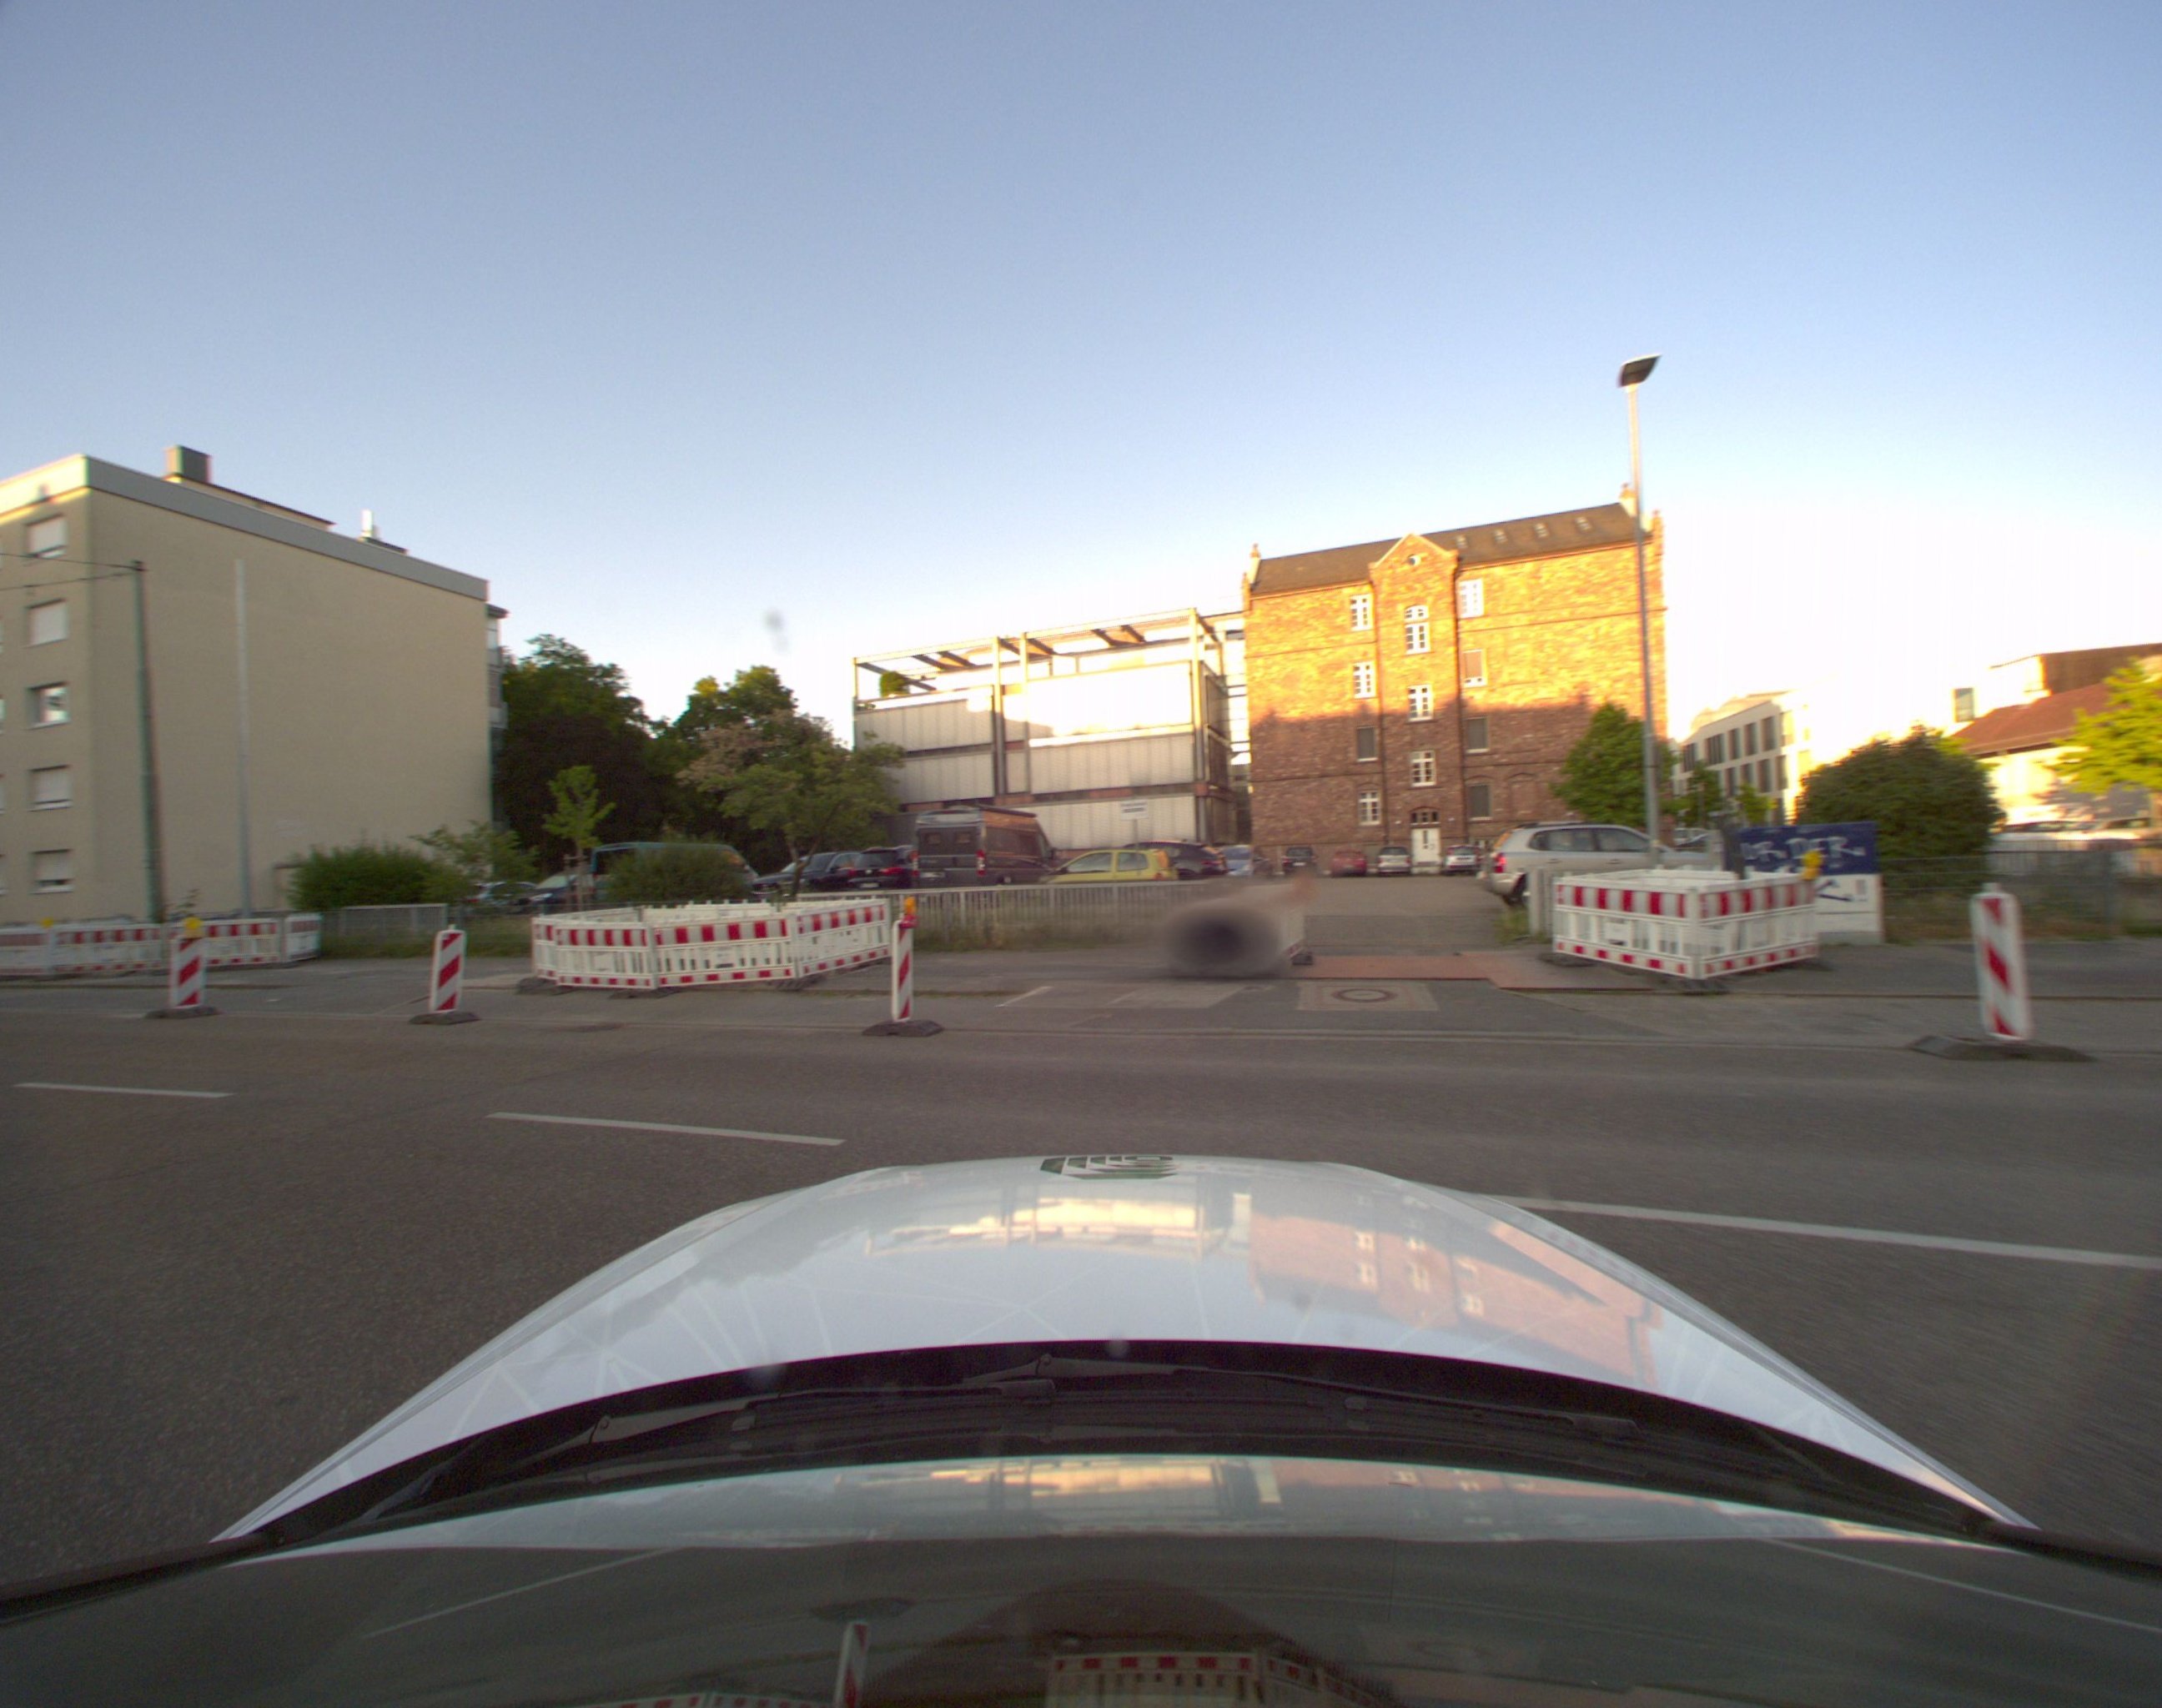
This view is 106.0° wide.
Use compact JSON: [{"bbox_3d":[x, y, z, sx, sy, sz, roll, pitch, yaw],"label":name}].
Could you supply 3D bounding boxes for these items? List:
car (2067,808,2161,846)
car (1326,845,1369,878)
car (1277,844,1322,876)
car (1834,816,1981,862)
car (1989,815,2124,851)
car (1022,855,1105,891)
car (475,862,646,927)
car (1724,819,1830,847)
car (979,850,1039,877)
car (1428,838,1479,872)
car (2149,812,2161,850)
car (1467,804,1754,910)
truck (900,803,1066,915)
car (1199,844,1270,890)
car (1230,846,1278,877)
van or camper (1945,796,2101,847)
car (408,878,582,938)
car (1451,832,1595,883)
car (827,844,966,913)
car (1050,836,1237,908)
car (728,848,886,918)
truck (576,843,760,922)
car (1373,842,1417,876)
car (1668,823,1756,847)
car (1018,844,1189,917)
[{"bbox_3d":[43.832,-1.135,33.562,3.712,1.445,1.694,-3,-1,16],"label":"car"},{"bbox_3d":[13.693,0.340,41.718,1.880,1.537,4.200,-3,0,20],"label":"car"},{"bbox_3d":[11.536,0.305,42.795,1.880,1.537,4.200,-3,0,20],"label":"car"},{"bbox_3d":[32.746,-0.566,32.383,3.712,1.603,1.694,-3,-1,16],"label":"car"},{"bbox_3d":[45.635,-0.973,38.188,3.712,1.445,1.694,-3,-1,16],"label":"car"},{"bbox_3d":[-0.639,0.740,34.078,1.923,1.305,4.386,-3,0,20],"label":"car"},{"bbox_3d":[-16.594,1.227,26.232,1.977,1.826,4.247,-3,-1,19],"label":"car"},{"bbox_3d":[38.396,-1.135,45.068,3.954,1.313,2.074,-2,0,18],"label":"car"},{"bbox_3d":[-4.202,0.521,48.363,1.880,1.432,4.200,-3,0,20],"label":"car"},{"bbox_3d":[18.266,0.033,40.065,1.880,1.537,4.200,-3,0,20],"label":"car"},{"bbox_3d":[43.204,-0.976,30.407,3.712,1.445,1.694,-3,-1,16],"label":"car"},{"bbox_3d":[9.864,0.094,15.566,4.234,1.708,1.711,-3,-1,18],"label":"car"},{"bbox_3d":[-2.458,0.125,22.047,2.314,2.617,4.998,-3,0,20],"label":"truck"},{"bbox_3d":[6.067,0.461,31.829,1.977,1.576,4.386,-3,0,20],"label":"car"},{"bbox_3d":[9.373,0.387,43.898,1.880,1.537,4.200,-3,0,20],"label":"car"},{"bbox_3d":[47.087,-1.598,40.851,4.924,2.240,1.694,-3,-1,16],"label":"van or camper"},{"bbox_3d":[-19.232,1.725,26.969,1.977,1.647,4.247,-3,-1,19],"label":"car"},{"bbox_3d":[14.921,0.132,27.764,4.090,1.483,1.651,-3,-1,21],"label":"car"},{"bbox_3d":[-5.045,0.627,22.895,1.978,1.692,4.018,-3,0,18],"label":"car"},{"bbox_3d":[1.636,0.493,21.389,4.544,1.638,1.584,-3,-1,21],"label":"car"},{"bbox_3d":[-7.571,0.747,23.007,1.978,1.727,4.321,-3,0,18],"label":"car"},{"bbox_3d":[-12.162,0.786,24.352,2.087,2.090,4.537,-3,-1,23],"label":"truck"},{"bbox_3d":[15.770,0.211,41.030,1.880,1.537,4.200,-3,0,20],"label":"car"},{"bbox_3d":[39.563,-1.175,51.158,3.954,1.313,1.886,-2,0,18],"label":"car"},{"bbox_3d":[0.537,0.625,19.154,3.600,1.504,1.646,-3,-1,21],"label":"car"}]
